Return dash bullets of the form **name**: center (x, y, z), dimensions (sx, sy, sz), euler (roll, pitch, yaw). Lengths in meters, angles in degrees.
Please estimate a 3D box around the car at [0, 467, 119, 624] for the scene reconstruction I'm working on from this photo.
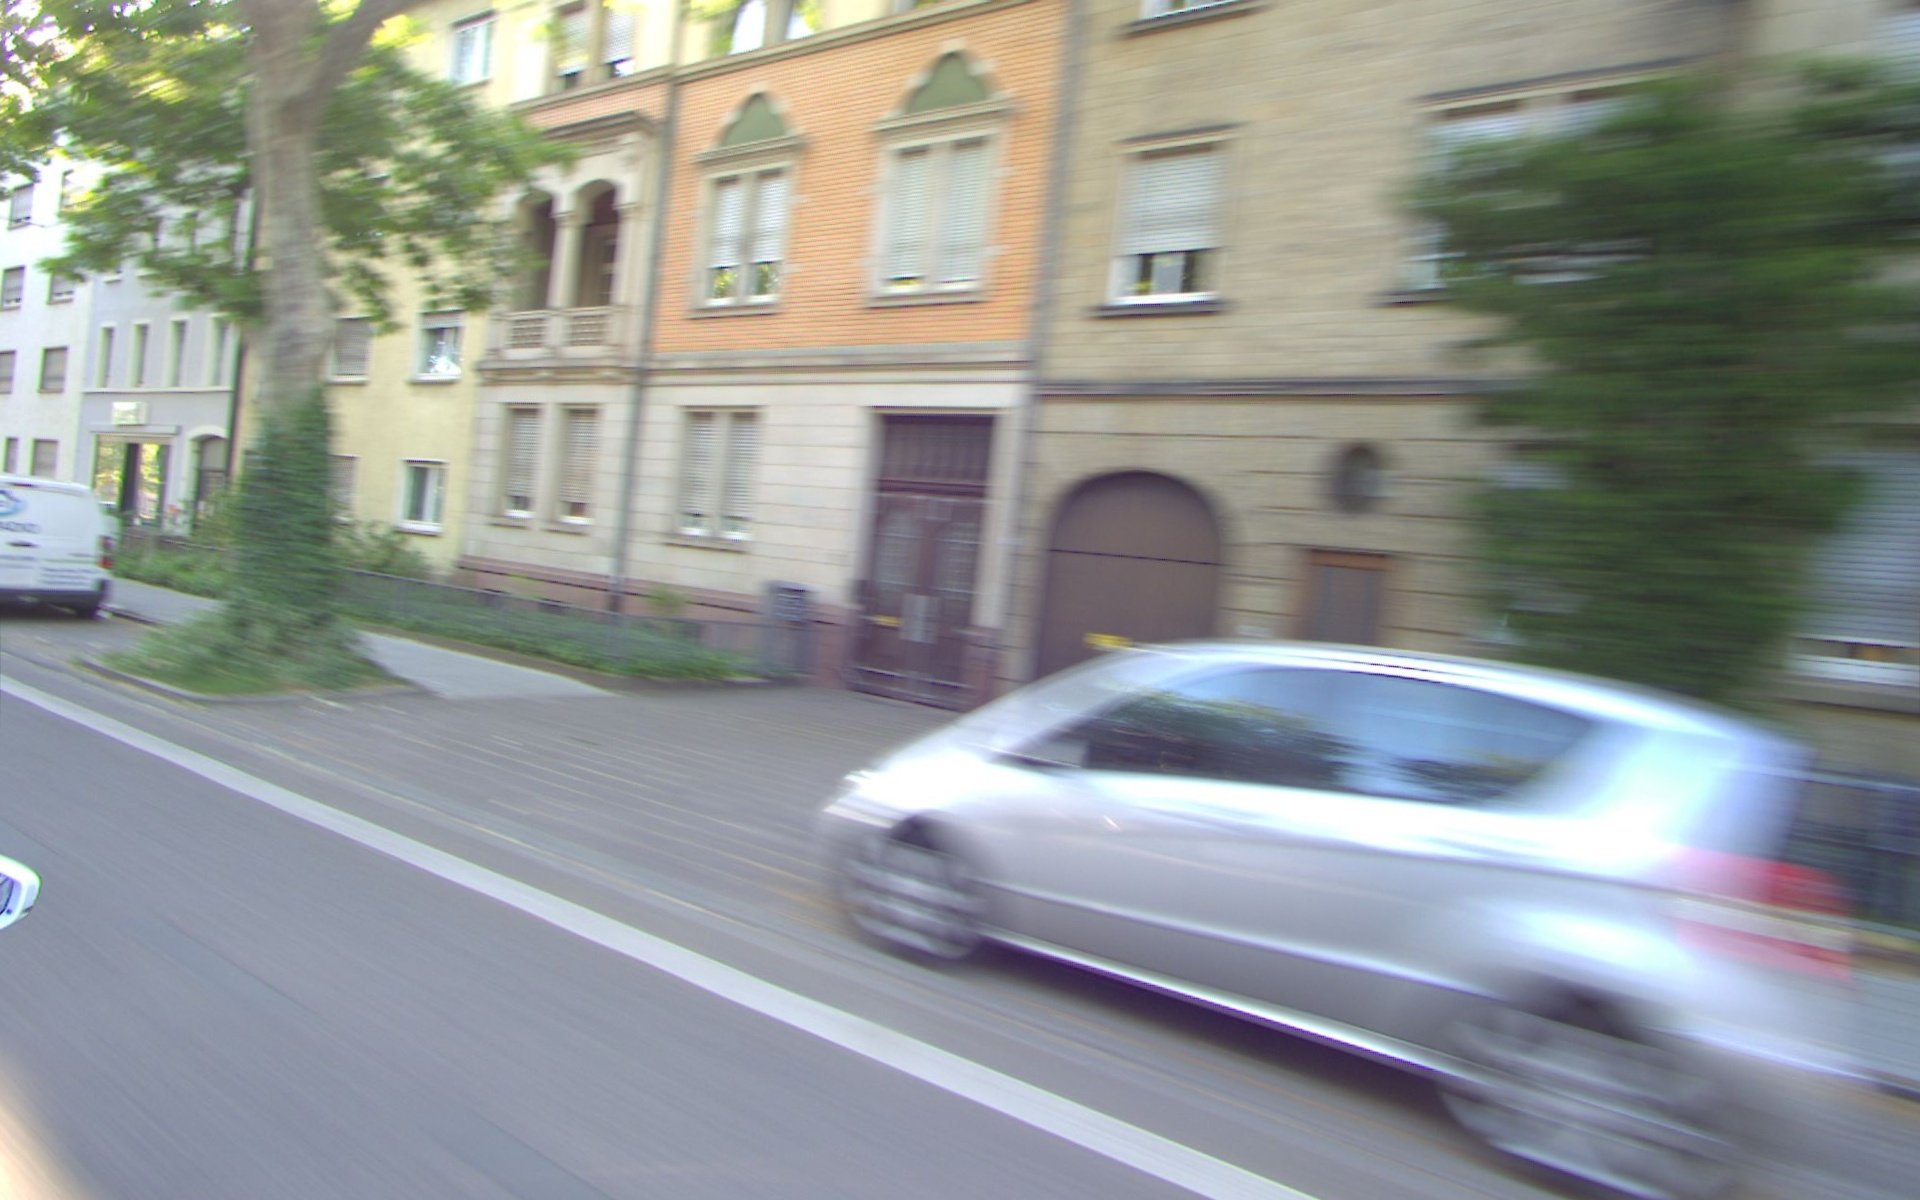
- **car**: center (-12.960, -0.842, 13.216), dimensions (4.324, 1.792, 1.745), euler (6, 0, 34)

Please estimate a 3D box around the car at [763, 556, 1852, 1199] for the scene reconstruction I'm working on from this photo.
- **car**: center (1.198, 0.869, 4.510), dimensions (3.789, 1.711, 1.746), euler (6, 0, 32)
